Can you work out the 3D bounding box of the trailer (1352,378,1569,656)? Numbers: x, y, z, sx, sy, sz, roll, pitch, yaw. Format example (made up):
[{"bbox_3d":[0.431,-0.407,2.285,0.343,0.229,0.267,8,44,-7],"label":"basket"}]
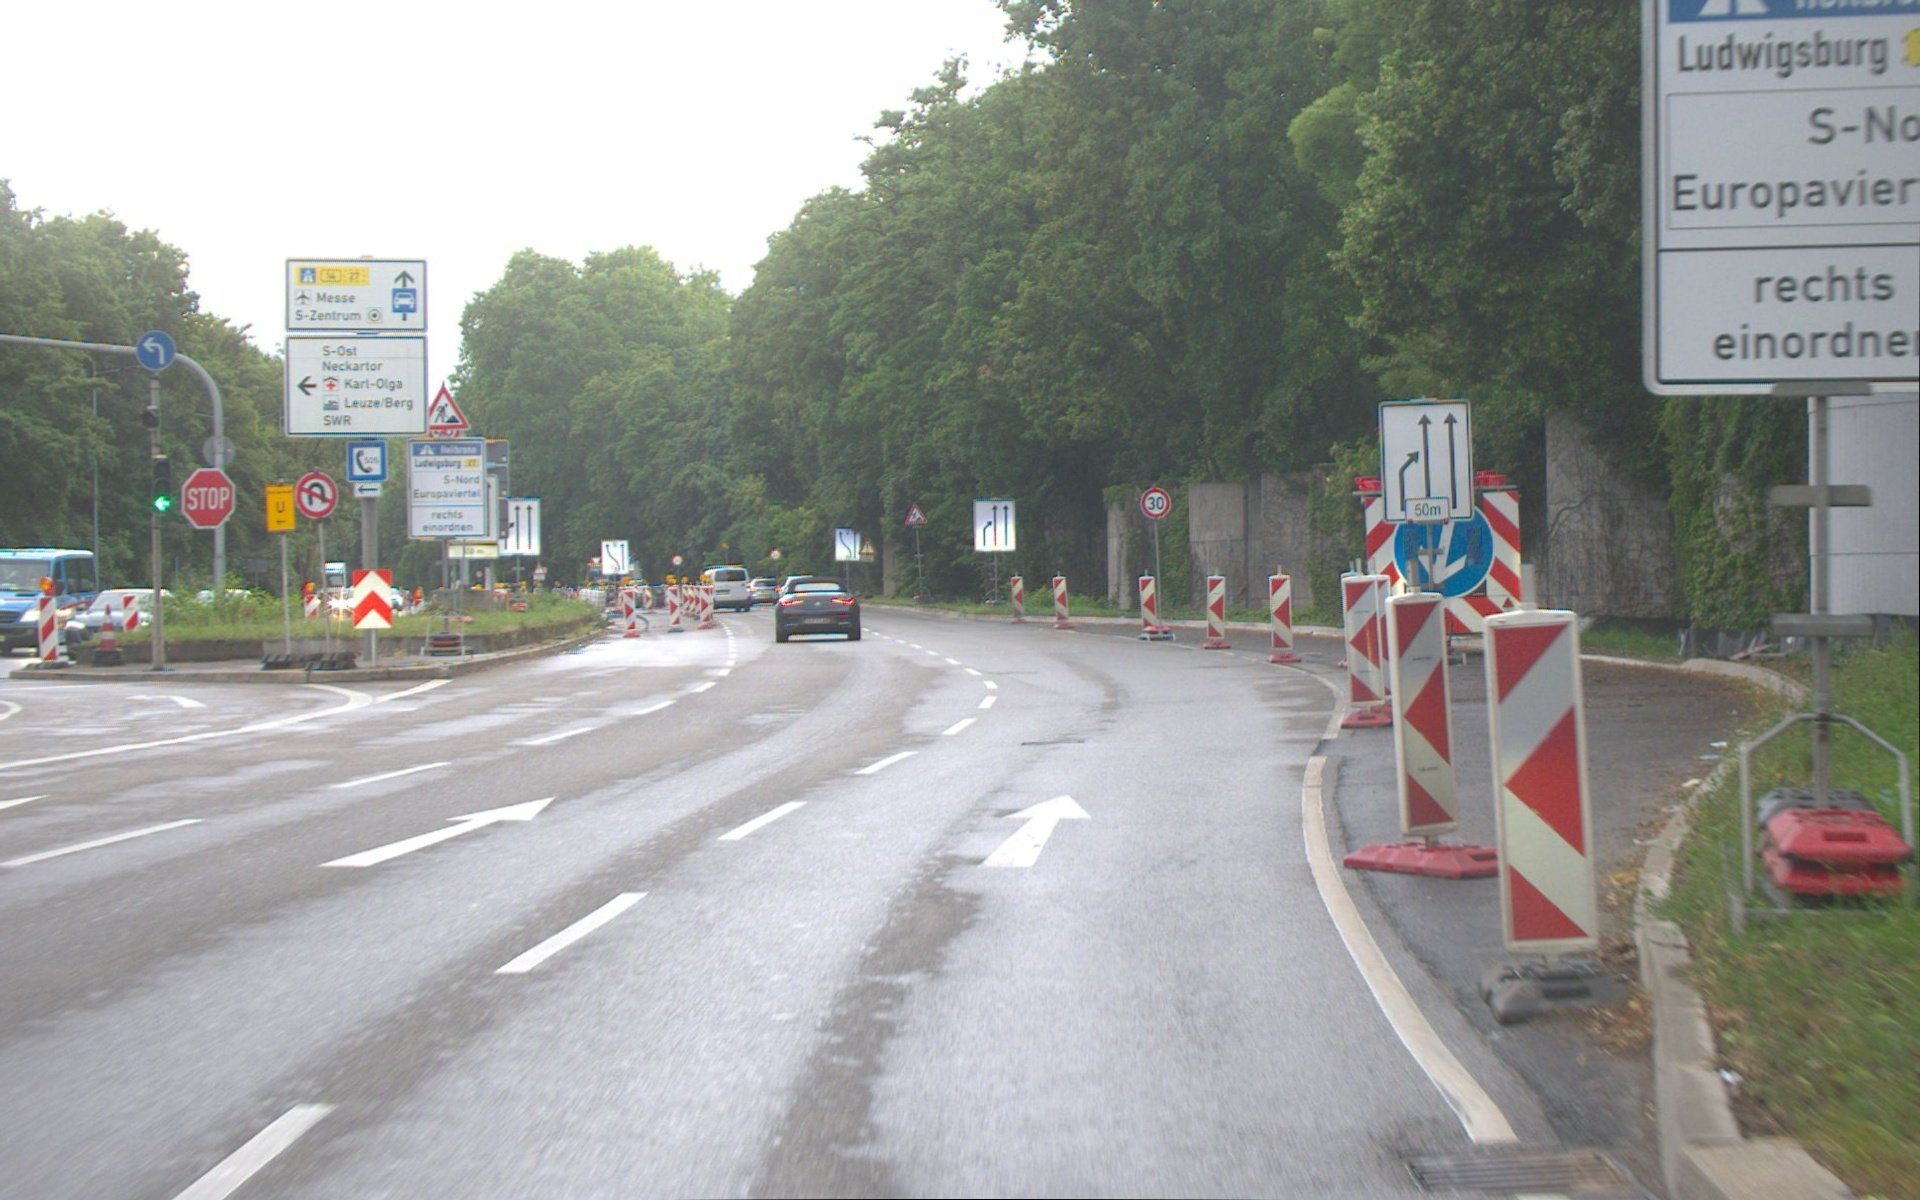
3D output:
[{"bbox_3d":[6.969,-1.118,48.515,2.308,3.577,5.959,-2,0,3],"label":"trailer"}]

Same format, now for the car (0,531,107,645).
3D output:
[{"bbox_3d":[-20.589,-0.310,75.759,2.195,2.382,6.245,-1,1,-2],"label":"car"}]

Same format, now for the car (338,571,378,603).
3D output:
[{"bbox_3d":[-34.753,-0.776,198.565,1.914,1.775,4.835,-1,1,-6],"label":"car"}]

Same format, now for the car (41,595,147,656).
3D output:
[{"bbox_3d":[-17.742,0.504,70.607,1.548,1.196,4.647,-1,0,-7],"label":"car"}]

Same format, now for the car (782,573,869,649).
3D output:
[{"bbox_3d":[-2.935,0.227,75.845,1.862,1.486,4.001,0,2,-1],"label":"car"}]

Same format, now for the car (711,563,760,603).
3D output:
[{"bbox_3d":[-7.171,-0.551,109.802,1.389,1.229,3.083,1,1,-1],"label":"car"}]

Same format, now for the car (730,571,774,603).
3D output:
[{"bbox_3d":[-10.834,-0.671,179.005,1.861,1.486,4.002,-1,3,-9],"label":"car"}]
